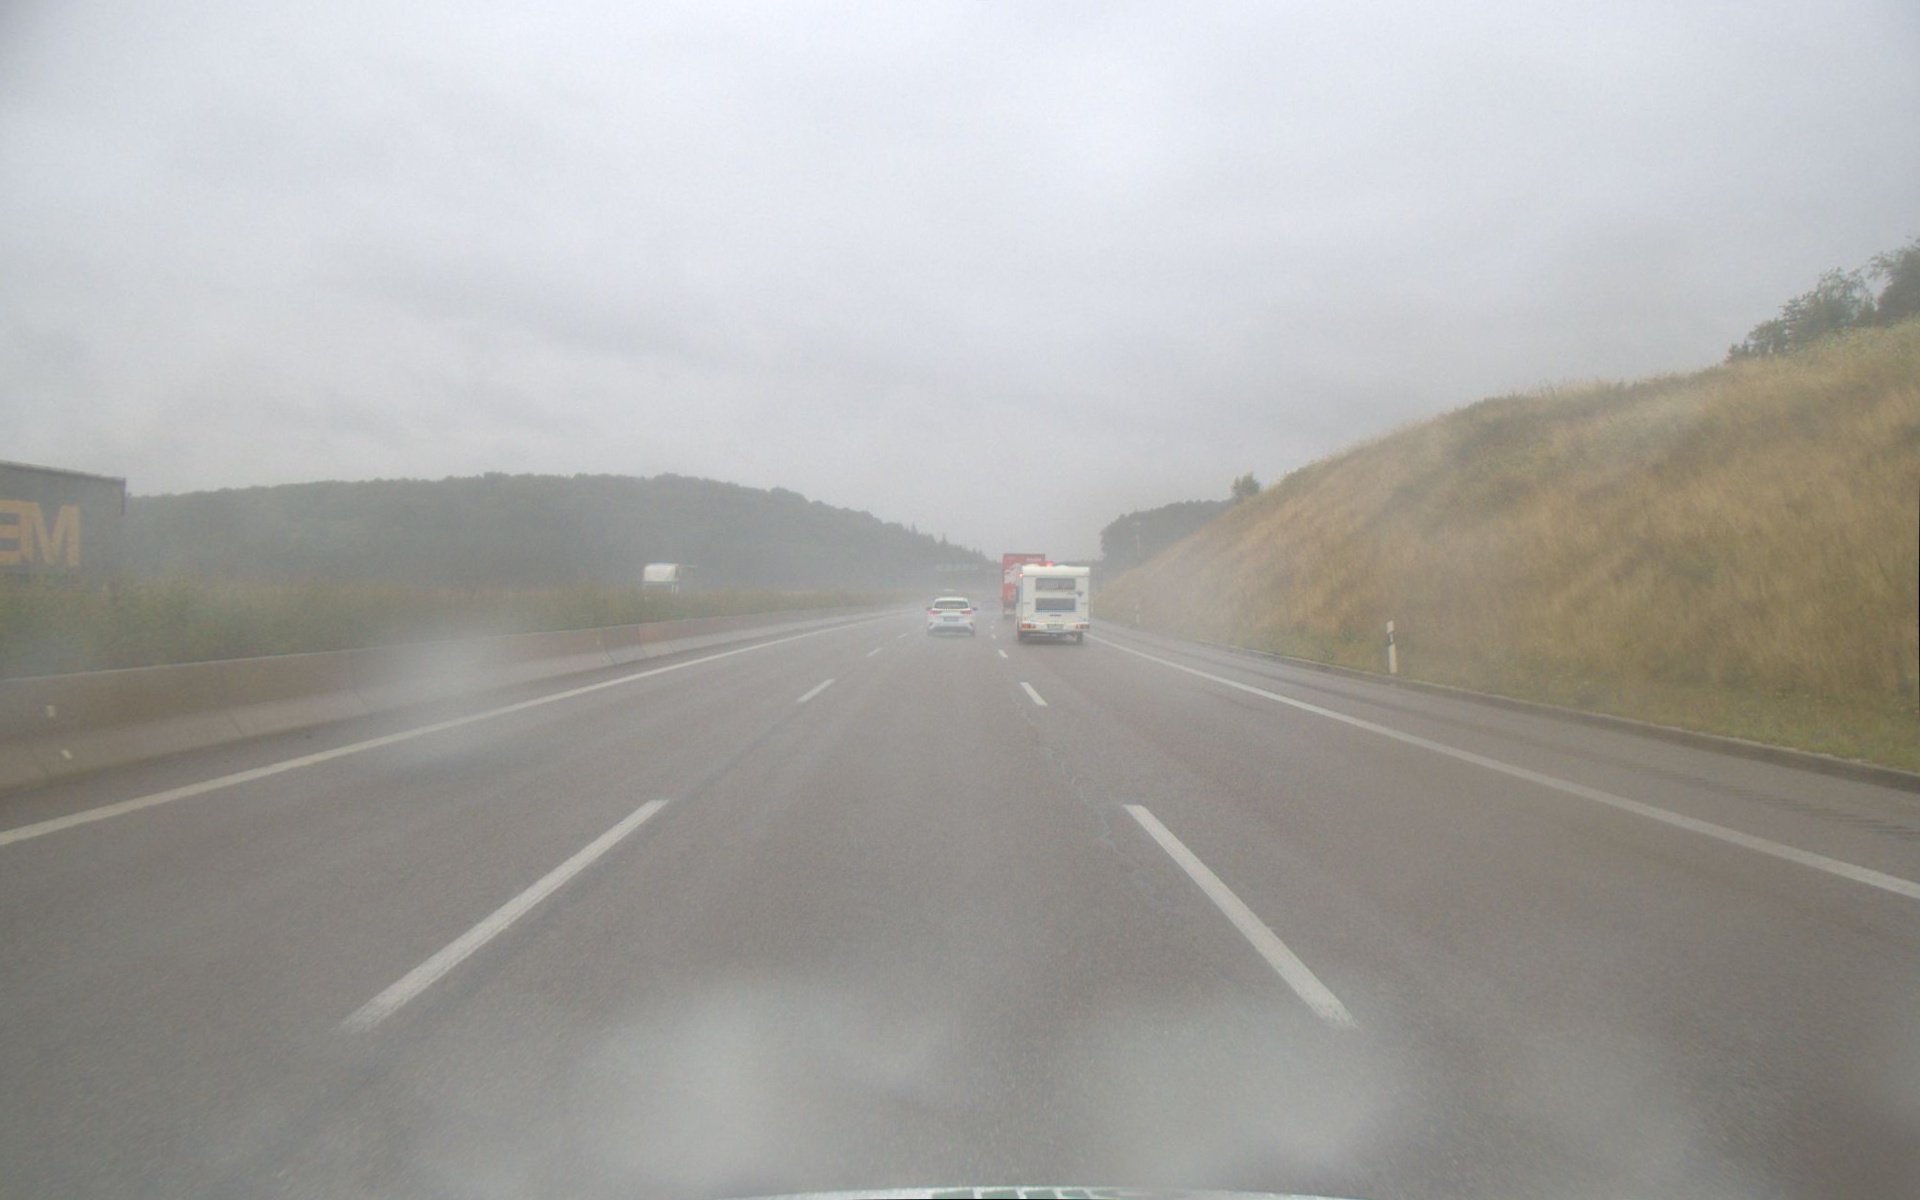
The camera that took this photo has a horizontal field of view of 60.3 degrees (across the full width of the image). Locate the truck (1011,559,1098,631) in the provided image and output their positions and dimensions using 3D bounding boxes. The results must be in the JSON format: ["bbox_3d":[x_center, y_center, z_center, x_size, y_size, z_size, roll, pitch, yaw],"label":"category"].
[{"bbox_3d":[3.092,-0.147,55.264,2.360,2.292,4.689,0,0,-4],"label":"truck"}]

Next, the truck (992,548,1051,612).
[{"bbox_3d":[3.819,-1.266,104.090,3.454,3.808,11.429,1,1,2],"label":"truck"}]

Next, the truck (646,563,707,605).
[{"bbox_3d":[-17.941,-0.968,105.220,2.233,2.555,10.124,0,0,-1],"label":"truck"}]

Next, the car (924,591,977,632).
[{"bbox_3d":[-0.394,0.456,62.168,1.830,1.488,3.998,0,-1,-2],"label":"car"}]

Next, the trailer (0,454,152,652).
[{"bbox_3d":[-19.451,-0.904,30.607,2.931,3.704,12.487,1,-1,-1],"label":"trailer"}]
